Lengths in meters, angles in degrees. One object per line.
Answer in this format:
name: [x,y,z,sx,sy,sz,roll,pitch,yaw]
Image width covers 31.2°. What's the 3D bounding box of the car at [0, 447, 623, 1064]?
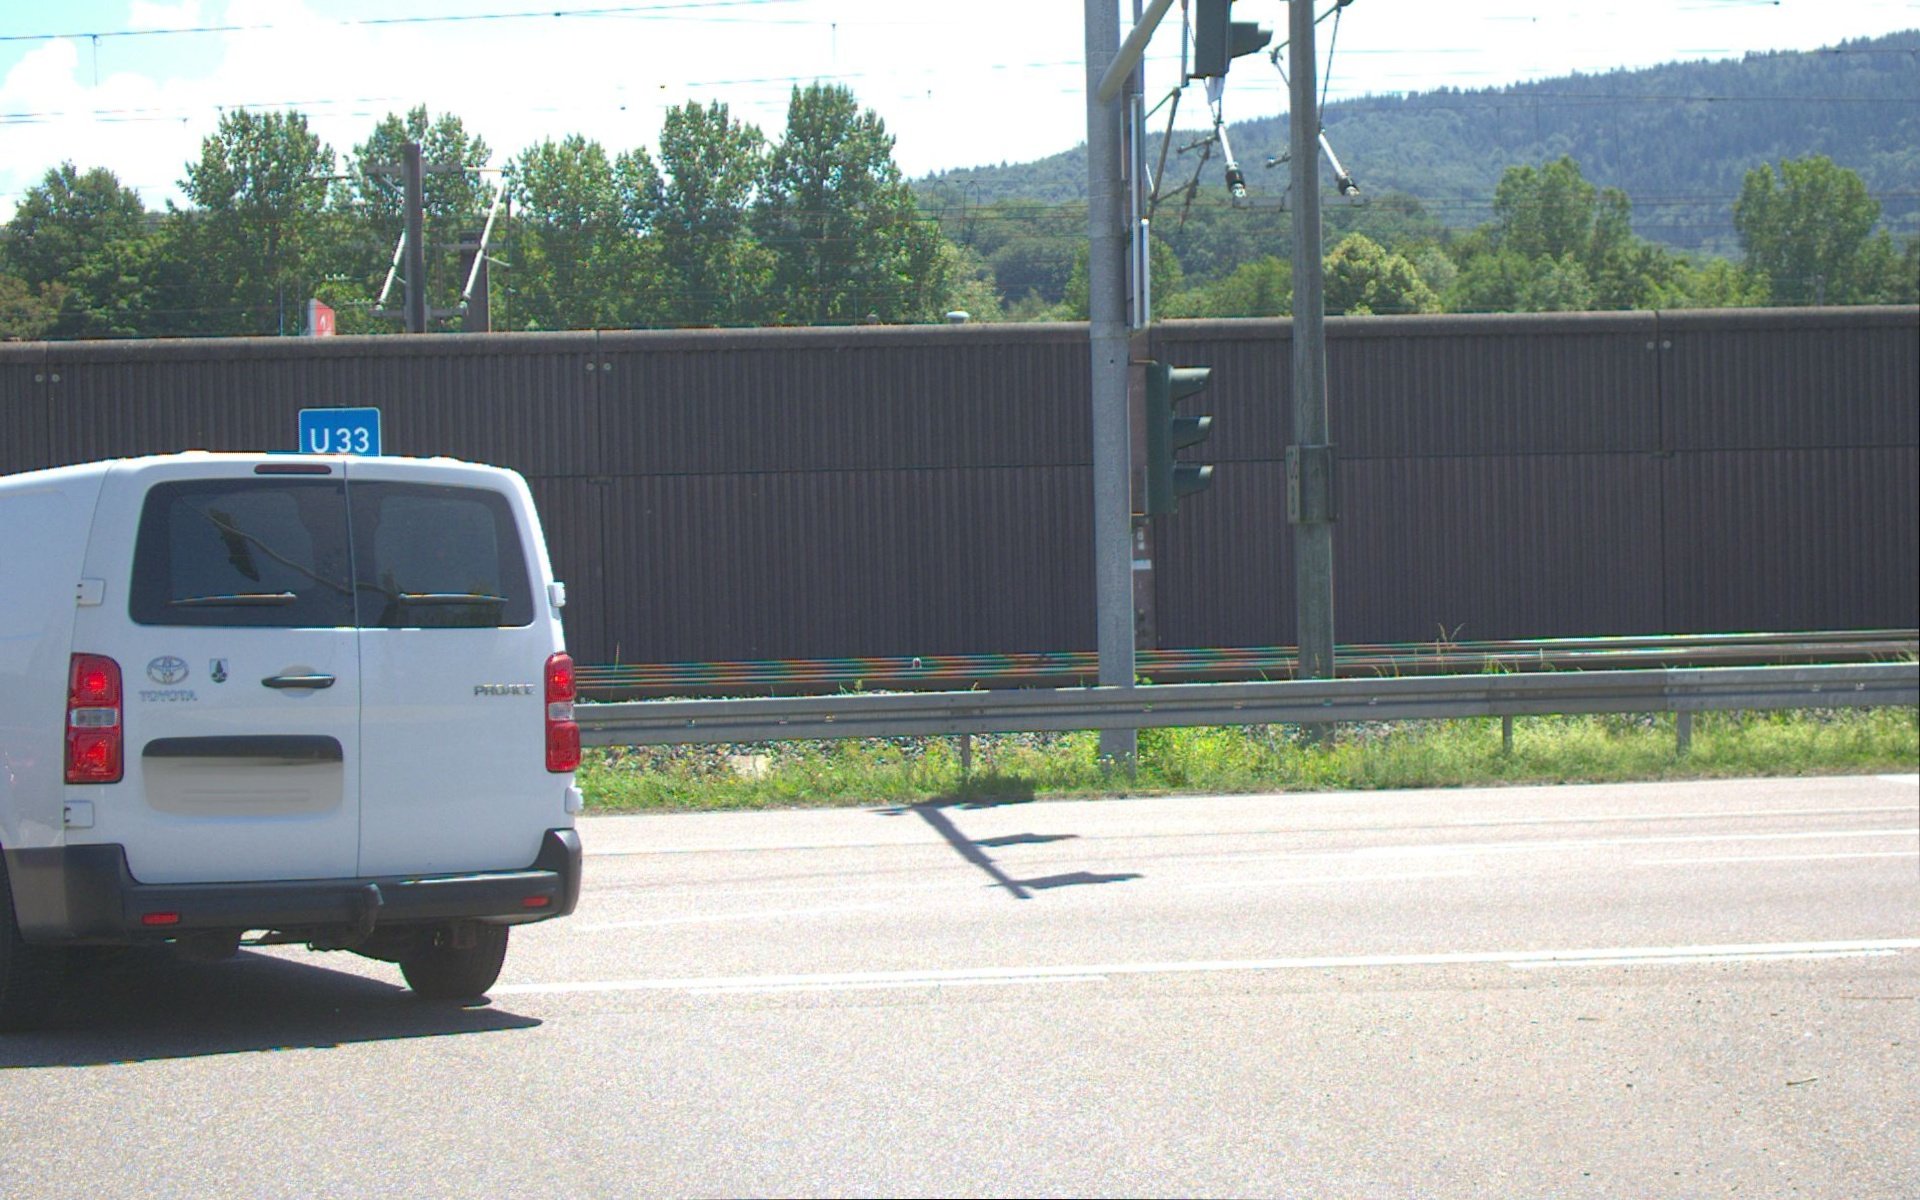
car: [-3.245,0.511,13.048,1.946,1.875,4.880,0,-1,-32]
